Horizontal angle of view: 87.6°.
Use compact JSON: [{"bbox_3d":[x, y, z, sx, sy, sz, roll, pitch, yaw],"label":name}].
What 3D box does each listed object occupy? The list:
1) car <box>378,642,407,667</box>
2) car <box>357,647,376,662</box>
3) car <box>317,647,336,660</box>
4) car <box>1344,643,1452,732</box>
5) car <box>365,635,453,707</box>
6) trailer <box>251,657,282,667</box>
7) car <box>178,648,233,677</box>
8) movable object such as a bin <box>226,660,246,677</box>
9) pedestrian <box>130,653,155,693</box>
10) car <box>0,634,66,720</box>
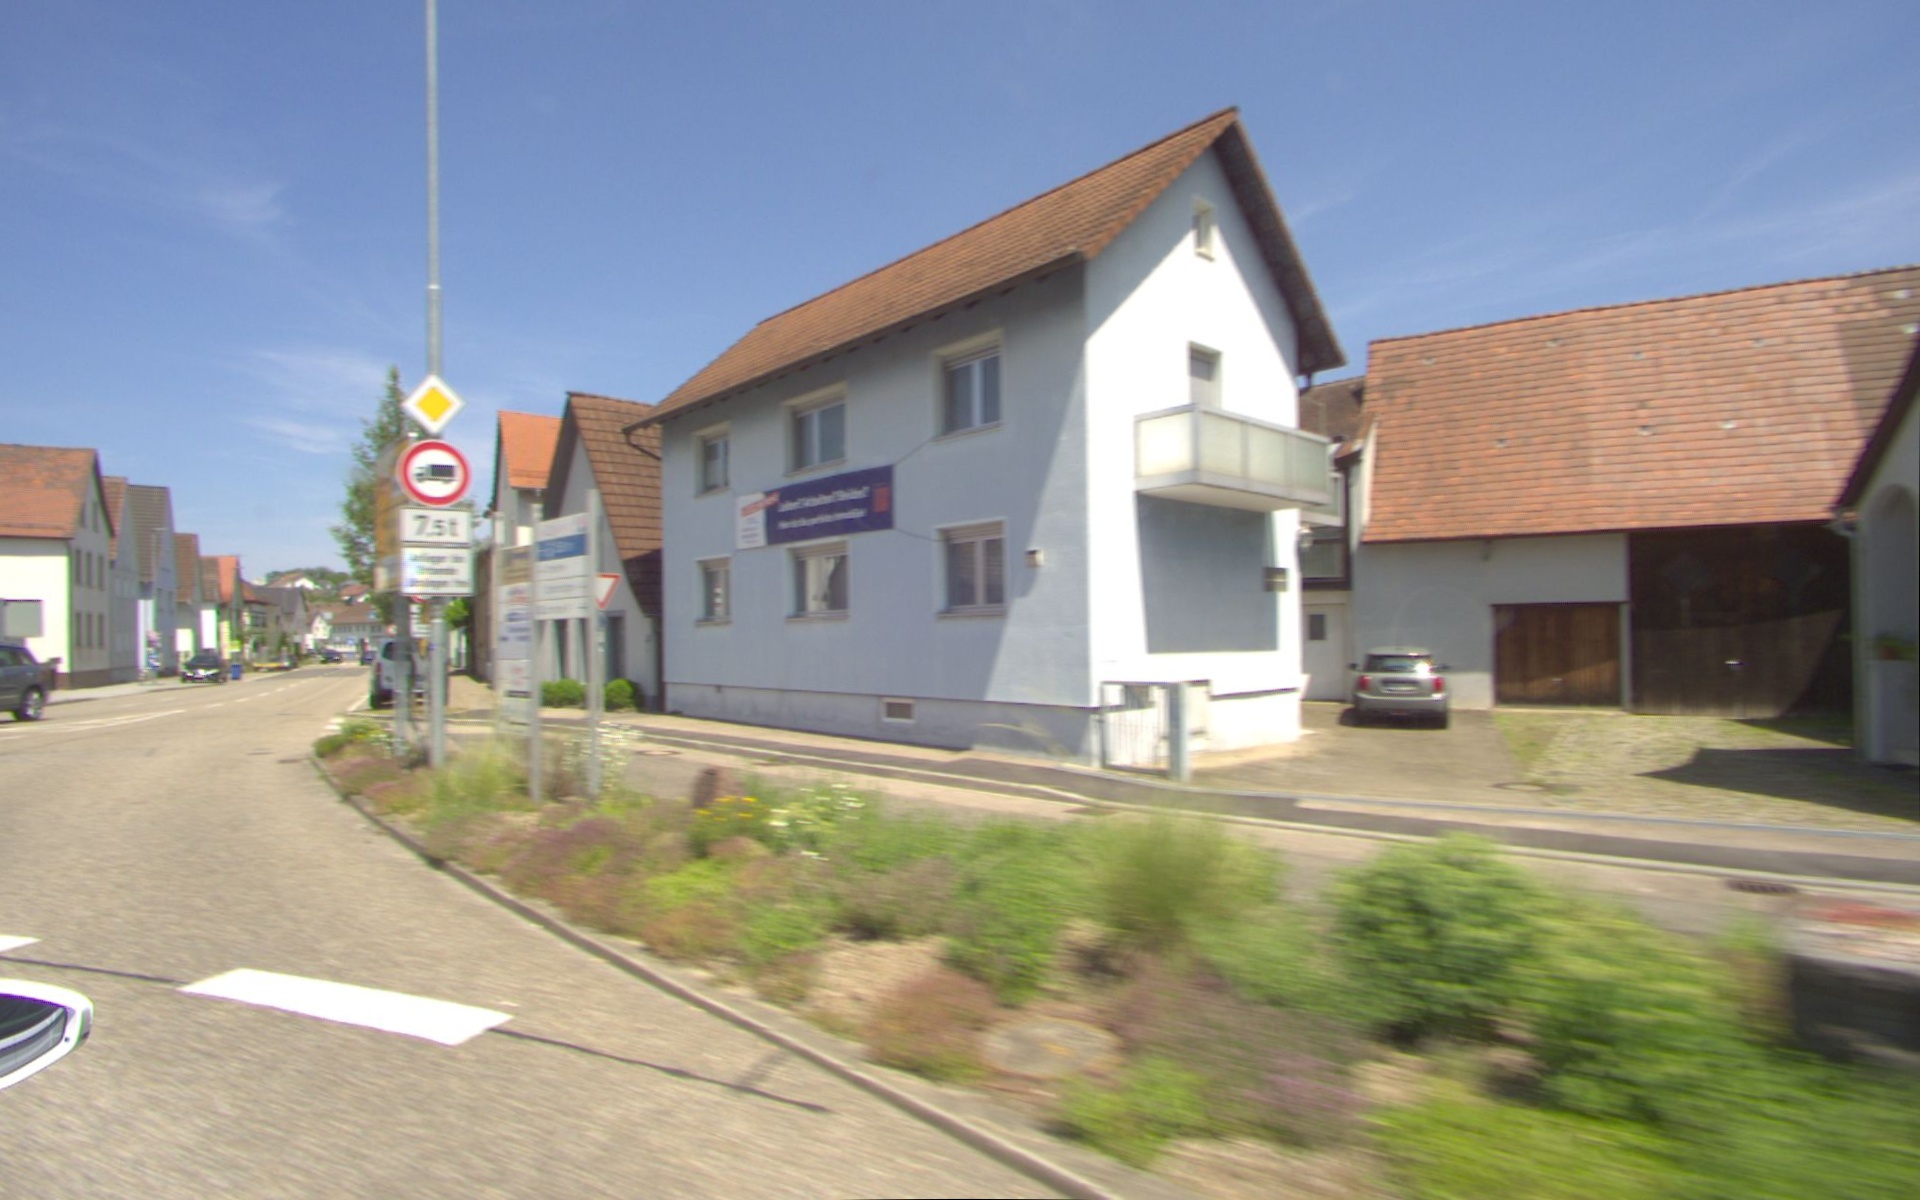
[{"bbox_3d":[-48.021,4.596,84.752,1.973,2.016,3.979,1,-3,-32],"label":"car"},{"bbox_3d":[-62.991,5.778,106.337,1.699,1.616,3.980,1,-3,-31],"label":"car"},{"bbox_3d":[-76.651,6.461,121.185,1.699,1.616,3.980,1,-3,-31],"label":"car"},{"bbox_3d":[8.640,1.648,19.831,1.785,1.472,3.725,-1,-1,23],"label":"car"},{"bbox_3d":[-16.050,2.055,29.070,1.973,1.935,4.302,1,-4,-32],"label":"car"},{"bbox_3d":[-58.307,5.186,84.193,1.935,0.787,2.699,2,-3,-39],"label":"trailer"},{"bbox_3d":[-44.414,3.656,59.016,1.696,1.616,3.988,1,-3,-24],"label":"car"},{"bbox_3d":[-46.239,4.350,63.946,0.909,1.062,0.939,1,-2,-29],"label":"movable object such as a bin"},{"bbox_3d":[-42.596,3.775,52.176,0.759,2.039,0.973,1,-2,-24],"label":"pedestrian"},{"bbox_3d":[-19.813,1.506,19.409,1.964,1.695,4.309,1,-3,-16],"label":"car"}]
